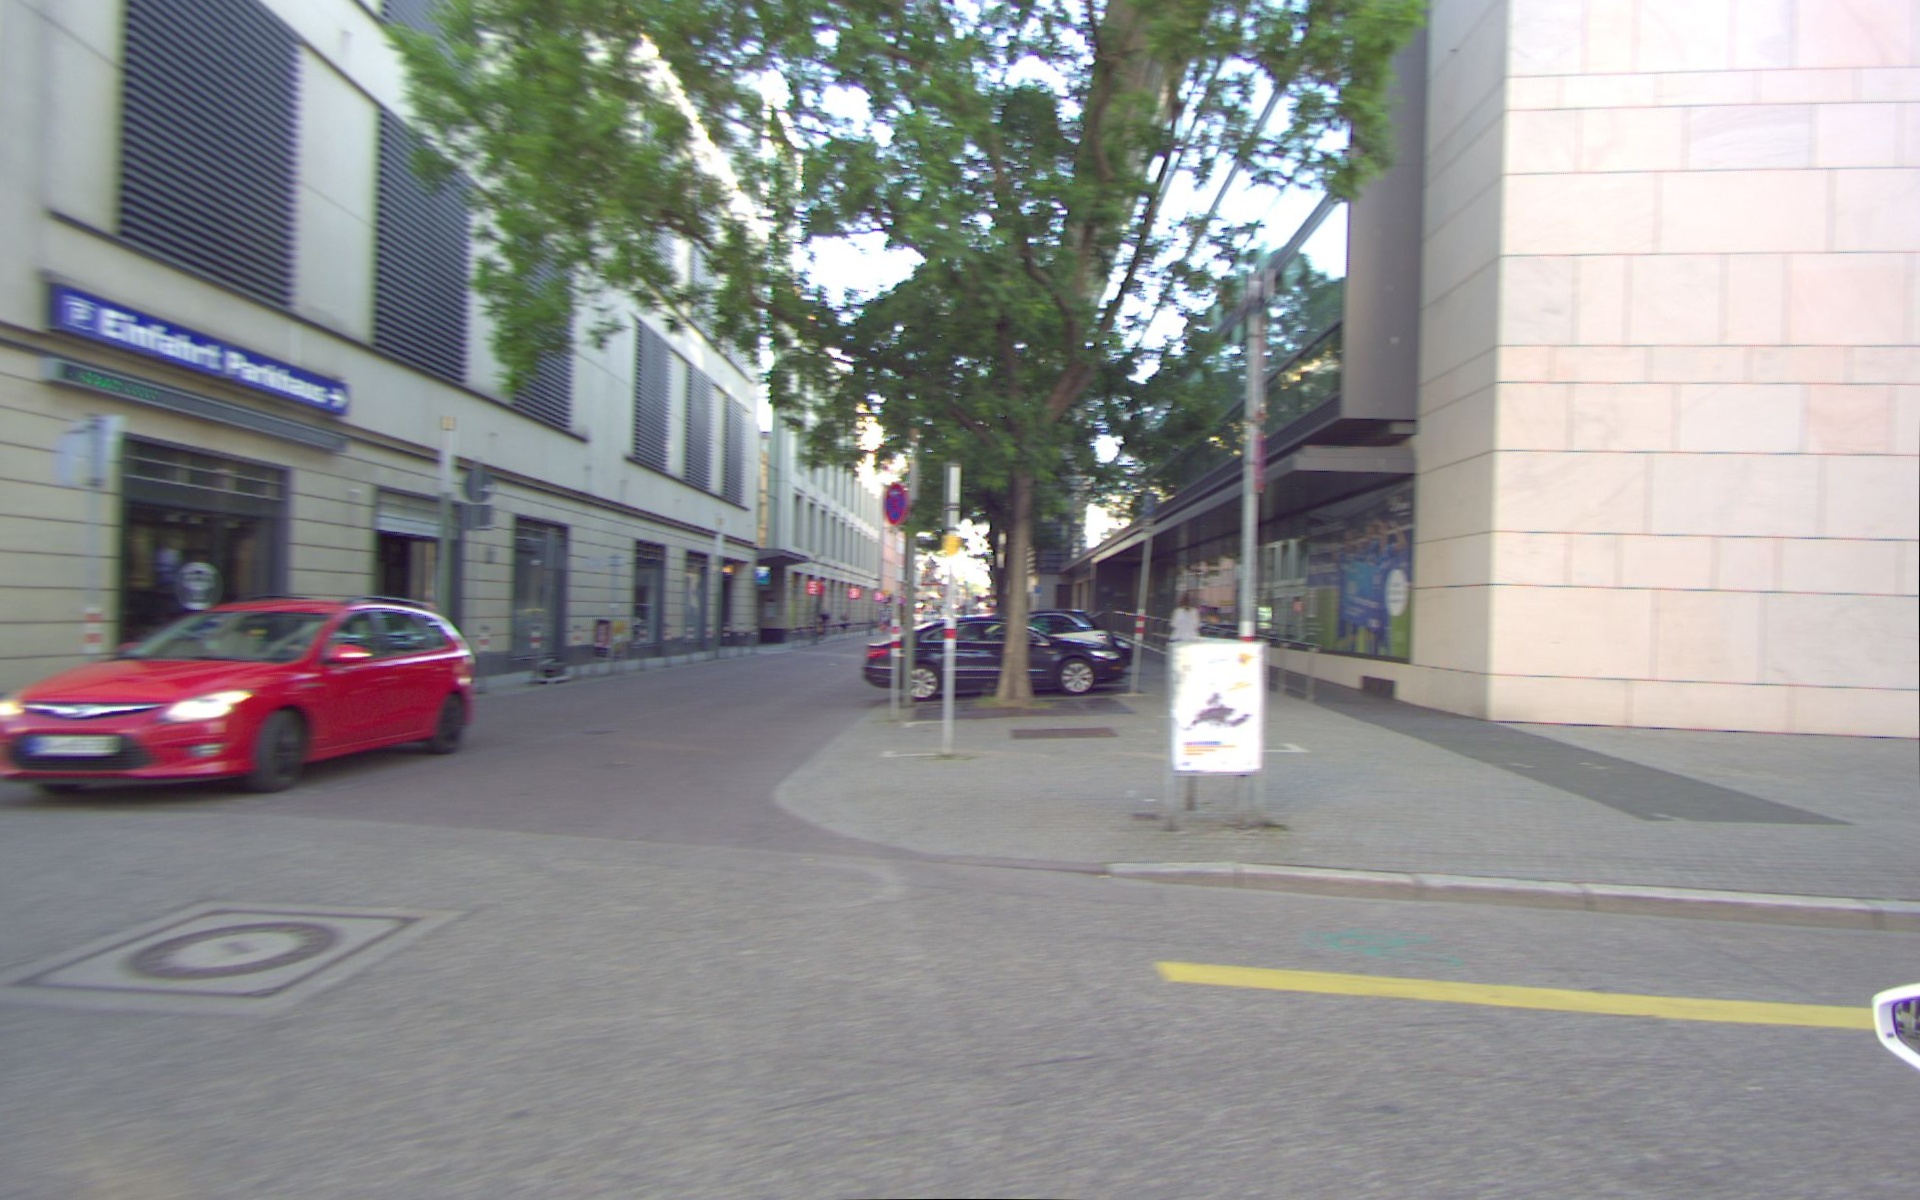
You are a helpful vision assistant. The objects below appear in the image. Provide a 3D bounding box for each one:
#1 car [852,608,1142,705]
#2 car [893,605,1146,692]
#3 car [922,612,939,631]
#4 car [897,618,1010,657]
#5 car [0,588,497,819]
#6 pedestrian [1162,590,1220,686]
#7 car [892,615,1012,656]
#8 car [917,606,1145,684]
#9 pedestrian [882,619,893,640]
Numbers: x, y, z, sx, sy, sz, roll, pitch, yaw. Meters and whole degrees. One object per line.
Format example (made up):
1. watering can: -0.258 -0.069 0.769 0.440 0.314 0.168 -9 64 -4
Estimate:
1. car: 0.631 0.995 18.162 4.922 1.471 2.000 -2 -1 -1
2. car: 1.159 0.973 20.717 4.922 1.519 2.000 -2 -1 -1
3. car: -3.873 2.805 130.841 1.961 2.359 5.021 3 -1 -1
4. car: -0.297 1.672 44.986 4.922 1.519 2.000 -2 -1 -1
5. car: -5.899 0.780 8.784 1.793 1.484 4.264 2 -3 -2
6. pedestrian: 4.310 0.711 18.816 0.890 1.728 0.835 -1 -1 3
7. car: -0.320 1.501 42.610 4.922 1.519 2.000 -2 -1 -1
8. car: 1.547 1.007 22.954 4.922 1.519 2.000 -2 -1 -1
9. pedestrian: -5.575 2.282 77.158 0.720 1.594 0.636 2 -1 2
